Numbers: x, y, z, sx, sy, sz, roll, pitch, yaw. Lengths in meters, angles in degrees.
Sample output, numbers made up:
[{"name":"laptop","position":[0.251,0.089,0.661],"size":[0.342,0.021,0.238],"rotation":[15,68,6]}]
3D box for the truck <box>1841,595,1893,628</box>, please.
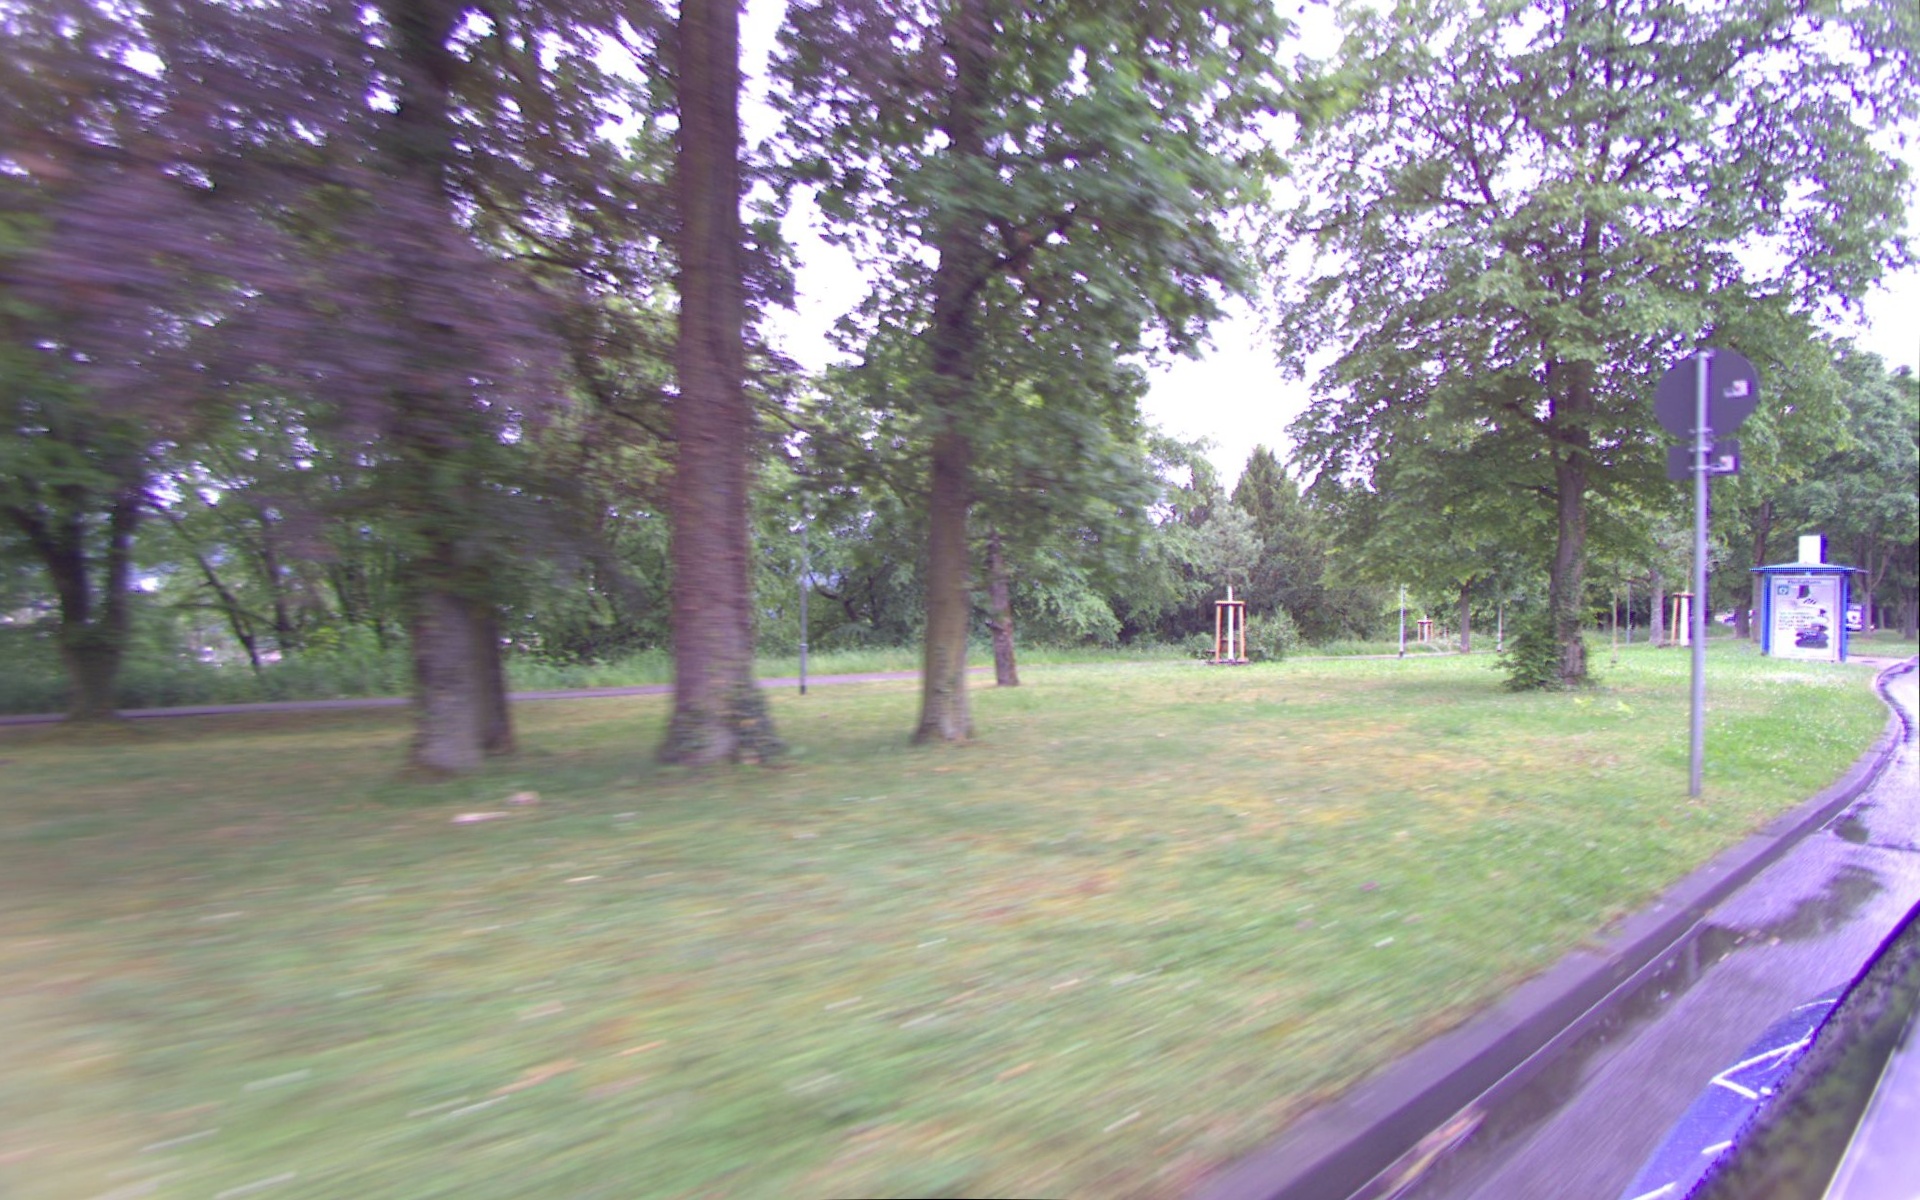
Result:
[{"name":"truck","position":[86.507,1.089,96.644],"size":[2.123,3.084,5.126],"rotation":[0,-1,23]}]
